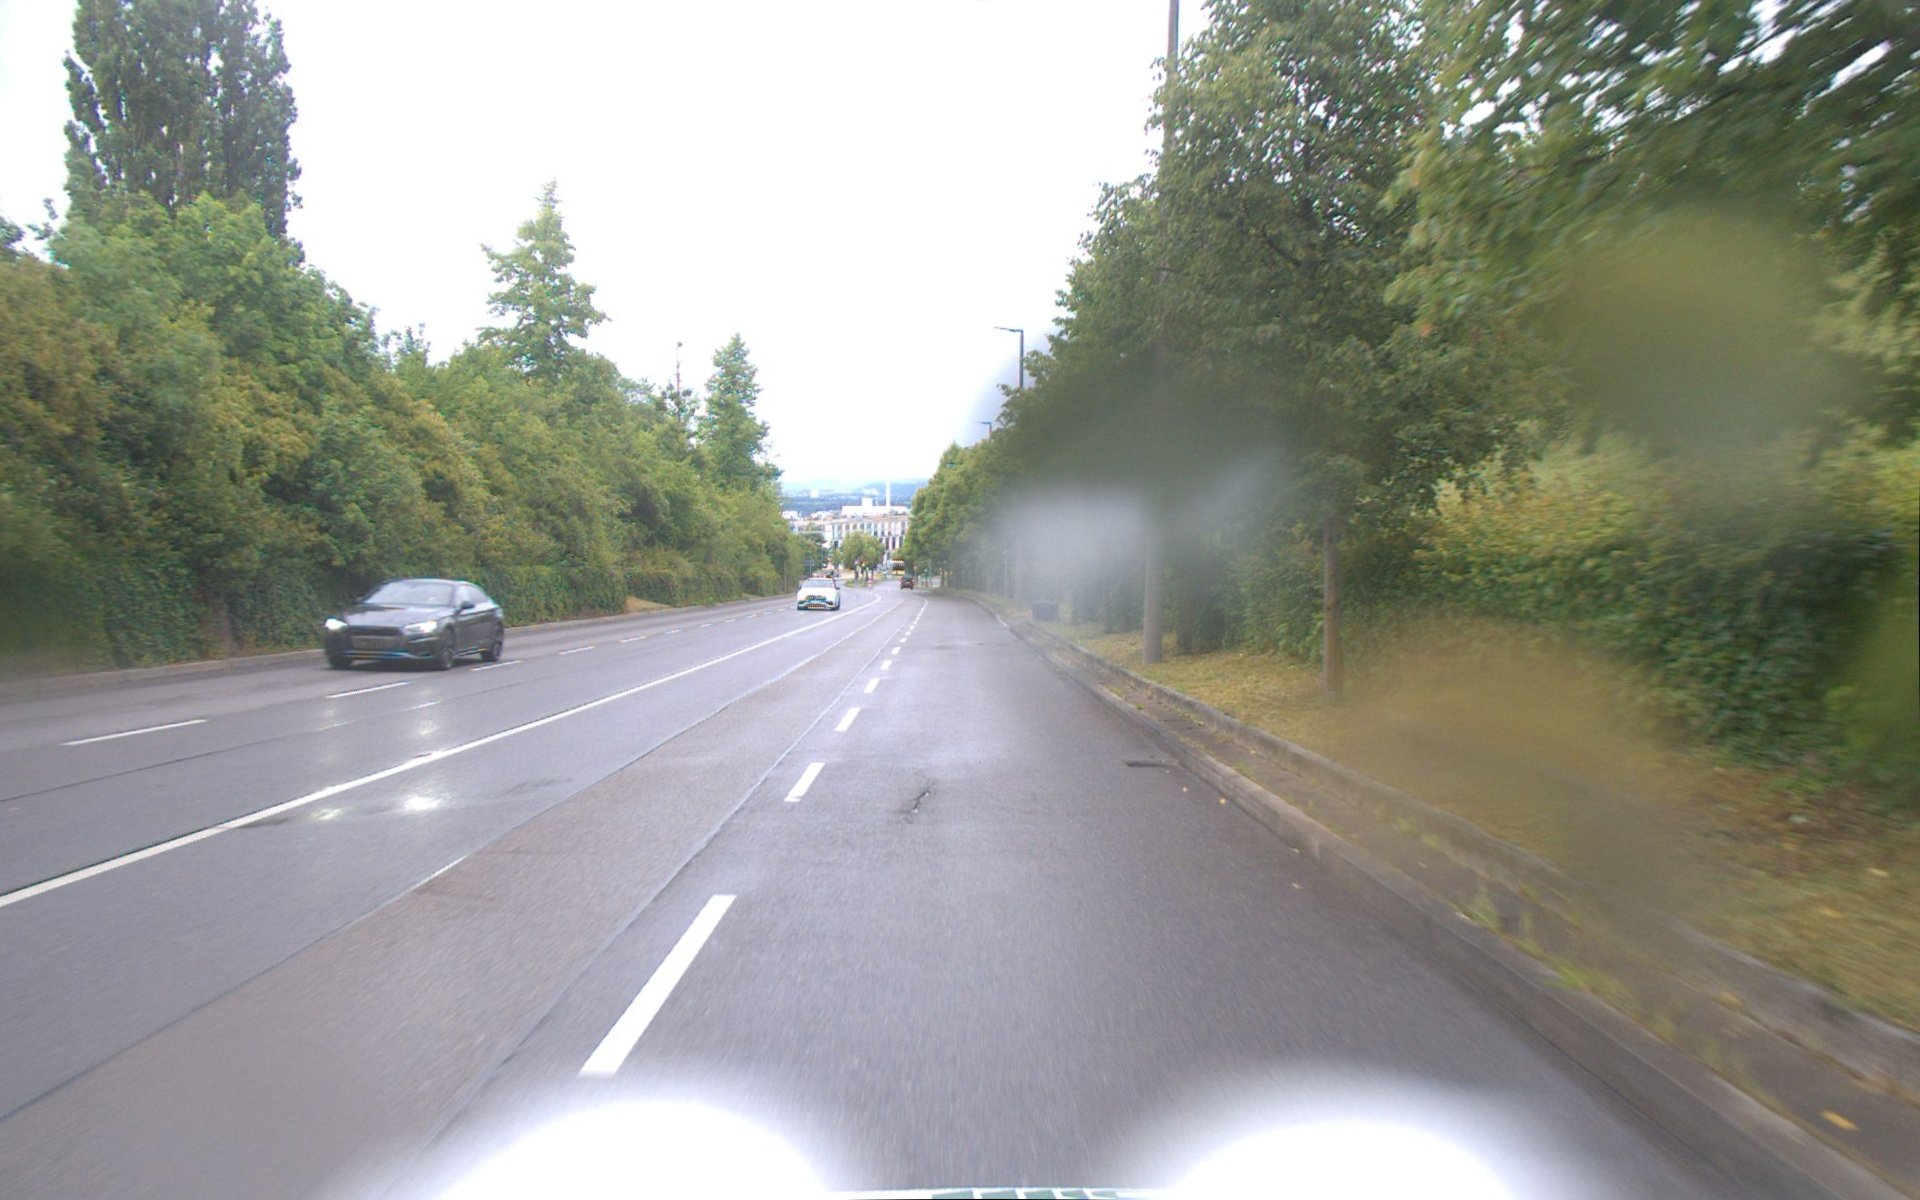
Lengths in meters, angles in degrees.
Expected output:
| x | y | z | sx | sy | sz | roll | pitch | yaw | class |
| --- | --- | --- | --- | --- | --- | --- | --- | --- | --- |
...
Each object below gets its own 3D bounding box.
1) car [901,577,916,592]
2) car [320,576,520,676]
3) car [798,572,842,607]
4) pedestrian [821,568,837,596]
| x | y | z | sx | sy | sz | roll | pitch | yaw | class |
| --- | --- | --- | --- | --- | --- | --- | --- | --- | --- |
| -6.695 | -2.021 | 215.849 | 1.812 | 1.731 | 3.790 | 2 | -1 | -3 | car |
| -8.731 | 0.359 | 27.193 | 1.724 | 1.405 | 4.838 | 2 | 1 | -1 | car |
| -6.601 | -0.521 | 78.107 | 1.680 | 1.531 | 4.516 | 2 | 1 | 0 | car |
| -7.553 | -1.036 | 95.468 | 0.789 | 1.568 | 1.111 | 1 | 0 | -1 | pedestrian |
